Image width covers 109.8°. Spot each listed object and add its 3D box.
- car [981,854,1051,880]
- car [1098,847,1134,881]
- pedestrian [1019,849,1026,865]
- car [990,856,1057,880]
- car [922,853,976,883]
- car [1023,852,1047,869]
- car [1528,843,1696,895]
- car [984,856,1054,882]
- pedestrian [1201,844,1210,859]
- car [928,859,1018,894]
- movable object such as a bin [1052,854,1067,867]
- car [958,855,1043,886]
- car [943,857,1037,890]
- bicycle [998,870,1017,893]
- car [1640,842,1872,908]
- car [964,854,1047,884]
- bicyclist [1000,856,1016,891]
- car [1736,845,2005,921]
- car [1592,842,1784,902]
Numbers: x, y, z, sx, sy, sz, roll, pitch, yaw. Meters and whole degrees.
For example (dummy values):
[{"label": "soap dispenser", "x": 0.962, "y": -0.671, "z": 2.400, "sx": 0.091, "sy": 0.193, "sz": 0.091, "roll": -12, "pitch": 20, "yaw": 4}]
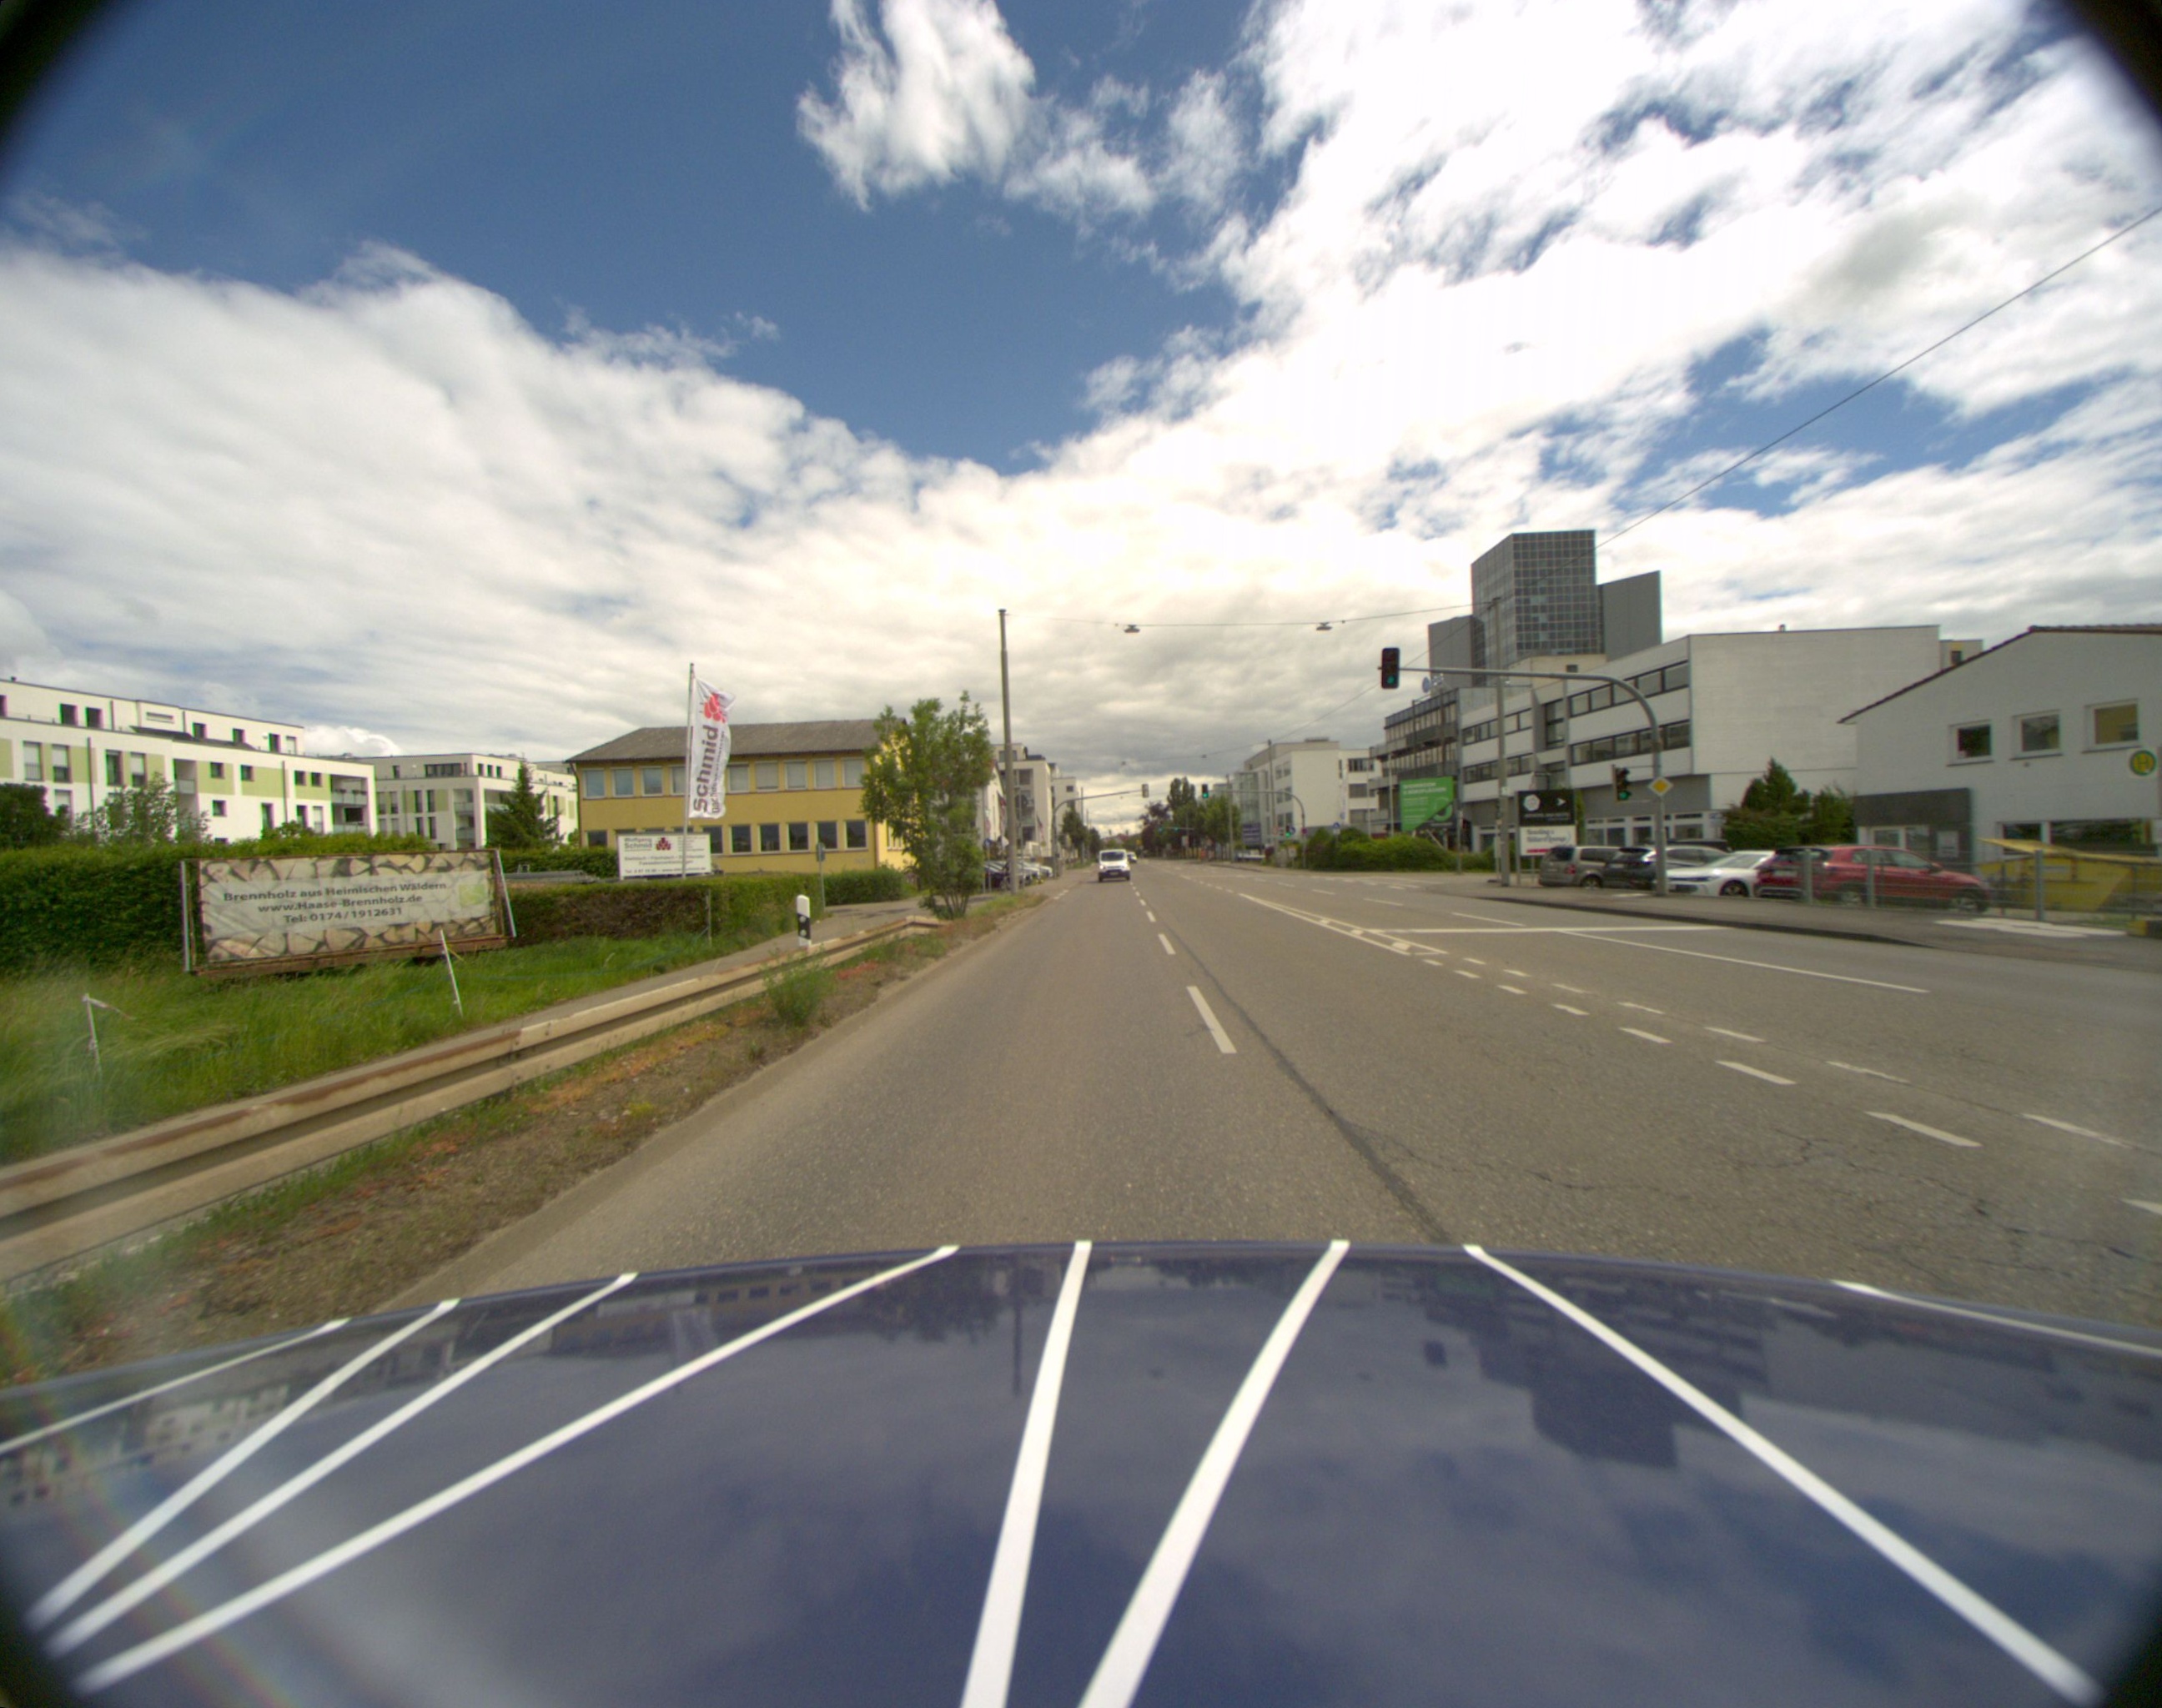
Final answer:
[{"label": "car", "x": -4.318, "y": 0.878, "z": 50.776, "sx": 4.380, "sy": 1.395, "sz": 1.988, "roll": -4, "pitch": 0, "yaw": 1}, {"label": "car", "x": 2.174, "y": 0.582, "z": 48.505, "sx": 1.998, "sy": 1.905, "sz": 3.999, "roll": -3, "pitch": 1, "yaw": 0}, {"label": "pedestrian", "x": -6.627, "y": 0.355, "z": 85.962, "sx": 0.507, "sy": 1.755, "sz": 0.501, "roll": -4, "pitch": 2, "yaw": 19}, {"label": "car", "x": -4.209, "y": 1.049, "z": 56.490, "sx": 4.708, "sy": 1.484, "sz": 2.046, "roll": -3, "pitch": 0, "yaw": 2}, {"label": "car", "x": -9.303, "y": 0.957, "z": 54.163, "sx": 1.979, "sy": 1.811, "sz": 5.033, "roll": -2, "pitch": 1, "yaw": 12}, {"label": "car", "x": -4.399, "y": 0.651, "z": 73.798, "sx": 1.880, "sy": 1.536, "sz": 4.521, "roll": -2, "pitch": 0, "yaw": 1}, {"label": "car", "x": 17.006, "y": 0.489, "z": 24.460, "sx": 4.105, "sy": 1.390, "sz": 1.907, "roll": 3, "pitch": 0, "yaw": -5}, {"label": "car", "x": -4.352, "y": 1.051, "z": 53.675, "sx": 4.670, "sy": 1.485, "sz": 2.035, "roll": -3, "pitch": 0, "yaw": 2}, {"label": "pedestrian", "x": 17.121, "y": -0.327, "z": 104.392, "sx": 0.724, "sy": 2.002, "sz": 0.812, "roll": -3, "pitch": 2, "yaw": 45}, {"label": "car", "x": -5.582, "y": 1.159, "z": 39.760, "sx": 4.332, "sy": 1.391, "sz": 2.003, "roll": -4, "pitch": 2, "yaw": 0}, {"label": "movable object such as a bin", "x": -2.392, "y": 0.686, "z": 85.555, "sx": 1.320, "sy": 1.353, "sz": 1.252, "roll": -2, "pitch": 2, "yaw": 19}, {"label": "car", "x": -4.744, "y": 0.967, "z": 45.216, "sx": 4.687, "sy": 1.485, "sz": 2.016, "roll": -4, "pitch": 0, "yaw": 3}, {"label": "car", "x": -5.043, "y": 1.050, "z": 42.578, "sx": 4.863, "sy": 1.422, "sz": 2.038, "roll": -4, "pitch": 1, "yaw": 3}, {"label": "bicycle", "x": -3.554, "y": 1.328, "z": 36.965, "sx": 0.639, "sy": 1.057, "sz": 1.977, "roll": 1, "pitch": 1, "yaw": 3}, {"label": "car", "x": 17.243, "y": 0.500, "z": 19.558, "sx": 4.235, "sy": 1.379, "sz": 1.983, "roll": 3, "pitch": 1, "yaw": -3}, {"label": "car", "x": -4.721, "y": 0.946, "z": 47.951, "sx": 4.811, "sy": 1.471, "sz": 2.032, "roll": -4, "pitch": 0, "yaw": 4}, {"label": "bicyclist", "x": -3.541, "y": 0.949, "z": 36.949, "sx": 0.639, "sy": 1.666, "sz": 0.890, "roll": 1, "pitch": 1, "yaw": 3}, {"label": "car", "x": 17.506, "y": 0.602, "z": 17.004, "sx": 3.997, "sy": 1.362, "sz": 1.848, "roll": 3, "pitch": 1, "yaw": 0}, {"label": "car", "x": 17.458, "y": 0.490, "z": 22.003, "sx": 3.997, "sy": 1.417, "sz": 1.855, "roll": 3, "pitch": 1, "yaw": 0}]
